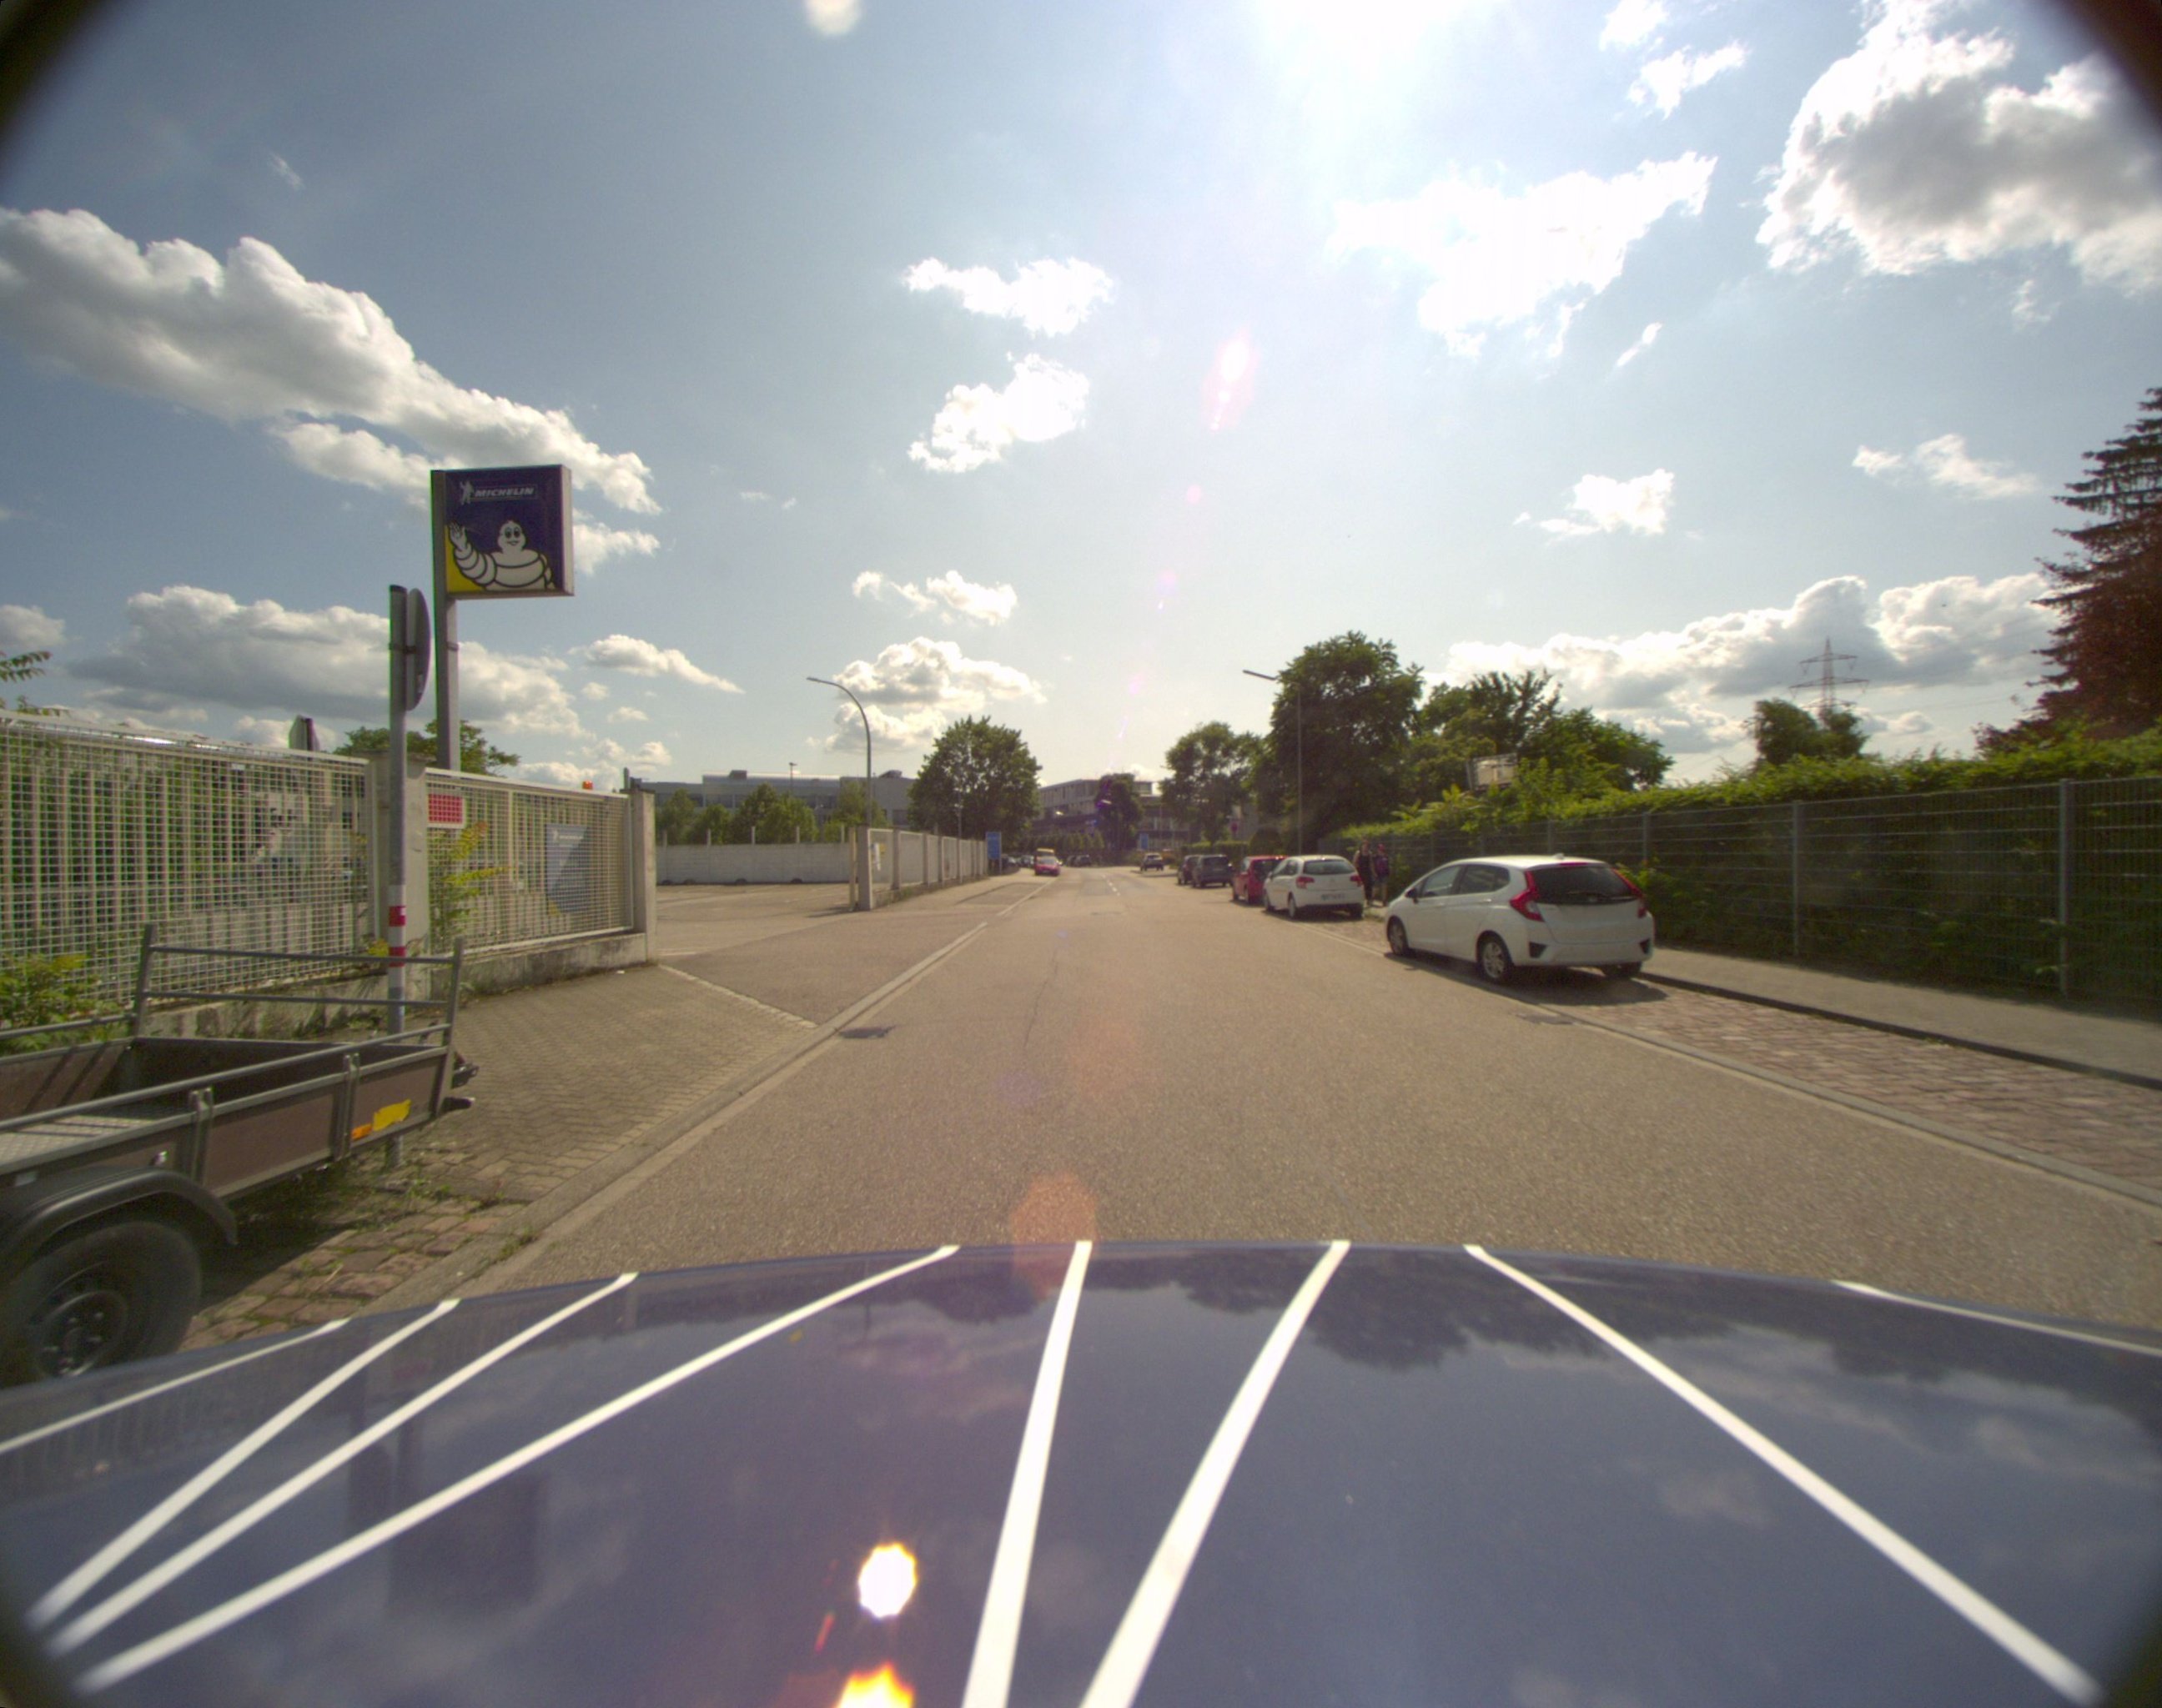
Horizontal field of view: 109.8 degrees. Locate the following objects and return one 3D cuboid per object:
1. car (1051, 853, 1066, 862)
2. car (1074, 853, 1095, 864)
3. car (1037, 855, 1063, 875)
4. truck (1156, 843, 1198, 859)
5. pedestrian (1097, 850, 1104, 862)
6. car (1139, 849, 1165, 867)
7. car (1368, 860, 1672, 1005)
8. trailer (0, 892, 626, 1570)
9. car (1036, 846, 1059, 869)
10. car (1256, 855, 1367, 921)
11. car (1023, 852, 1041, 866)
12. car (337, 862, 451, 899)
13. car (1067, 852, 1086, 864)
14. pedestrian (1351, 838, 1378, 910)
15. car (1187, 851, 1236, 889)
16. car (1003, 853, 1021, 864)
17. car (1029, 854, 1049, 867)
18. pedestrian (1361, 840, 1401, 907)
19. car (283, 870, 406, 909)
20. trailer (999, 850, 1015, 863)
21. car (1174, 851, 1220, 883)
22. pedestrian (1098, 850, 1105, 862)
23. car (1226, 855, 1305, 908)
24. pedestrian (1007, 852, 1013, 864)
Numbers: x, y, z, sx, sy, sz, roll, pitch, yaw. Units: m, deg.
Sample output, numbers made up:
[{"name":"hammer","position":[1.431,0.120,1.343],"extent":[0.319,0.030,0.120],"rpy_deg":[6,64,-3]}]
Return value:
[{"name":"car","position":[-3.739,0.531,126.985],"extent":[1.615,1.514,3.069],"rpy_deg":[-1,0,-18]},{"name":"car","position":[0.501,0.646,111.553],"extent":[1.806,1.641,4.683],"rpy_deg":[-2,1,-14]},{"name":"car","position":[-2.393,0.837,59.897],"extent":[1.758,1.478,4.224],"rpy_deg":[3,0,1]},{"name":"truck","position":[16.743,-0.603,132.521],"extent":[6.943,2.642,2.400],"rpy_deg":[-1,0,-25]},{"name":"pedestrian","position":[2.893,0.240,112.211],"extent":[0.831,1.751,0.844],"rpy_deg":[-3,1,-8]},{"name":"car","position":[6.634,0.387,70.949],"extent":[1.762,1.565,4.475],"rpy_deg":[-2,1,-3]},{"name":"car","position":[5.571,0.867,10.352],"extent":[1.624,1.513,4.174],"rpy_deg":[-1,0,-2]},{"name":"trailer","position":[-3.519,0.998,2.327],"extent":[1.754,1.409,4.547],"rpy_deg":[2,1,-4]},{"name":"car","position":[-3.761,0.307,84.275],"extent":[2.163,2.450,6.635],"rpy_deg":[0,0,-5]},{"name":"car","position":[5.809,0.792,19.627],"extent":[1.649,1.469,4.028],"rpy_deg":[-1,1,0]},{"name":"car","position":[-6.634,0.666,102.394],"extent":[1.856,1.755,5.072],"rpy_deg":[1,0,-11]},{"name":"car","position":[-33.927,1.279,37.584],"extent":[3.919,1.630,1.935],"rpy_deg":[2,1,2]},{"name":"car","position":[-0.726,0.619,116.993],"extent":[1.782,1.673,4.225],"rpy_deg":[-3,1,-15]},{"name":"pedestrian","position":[7.536,0.515,20.205],"extent":[0.452,1.883,0.677],"rpy_deg":[-1,1,1]},{"name":"car","position":[6.217,0.733,36.435],"extent":[1.655,1.636,3.273],"rpy_deg":[-4,0,-1]},{"name":"car","position":[-10.988,0.714,120.389],"extent":[1.868,1.672,4.703],"rpy_deg":[1,0,-16]},{"name":"car","position":[-5.364,0.796,96.111],"extent":[1.839,1.484,4.651],"rpy_deg":[1,0,-12]},{"name":"pedestrian","position":[8.122,0.514,20.617],"extent":[0.710,1.791,0.916],"rpy_deg":[-1,1,1]},{"name":"car","position":[-34.195,1.641,35.347],"extent":[3.919,1.630,1.935],"rpy_deg":[1,1,2]},{"name":"trailer","position":[-12.213,0.467,124.570],"extent":[1.753,2.055,3.941],"rpy_deg":[2,-1,-18]},{"name":"car","position":[6.237,0.668,41.147],"extent":[1.849,1.499,4.000],"rpy_deg":[-4,0,1]},{"name":"pedestrian","position":[2.941,0.251,111.080],"extent":[0.845,1.682,0.830],"rpy_deg":[-3,1,-8]},{"name":"car","position":[5.811,0.807,24.313],"extent":[1.670,1.458,3.743],"rpy_deg":[-2,1,2]},{"name":"pedestrian","position":[-10.160,0.554,108.695],"extent":[0.724,1.683,0.738],"rpy_deg":[4,-1,-14]}]
